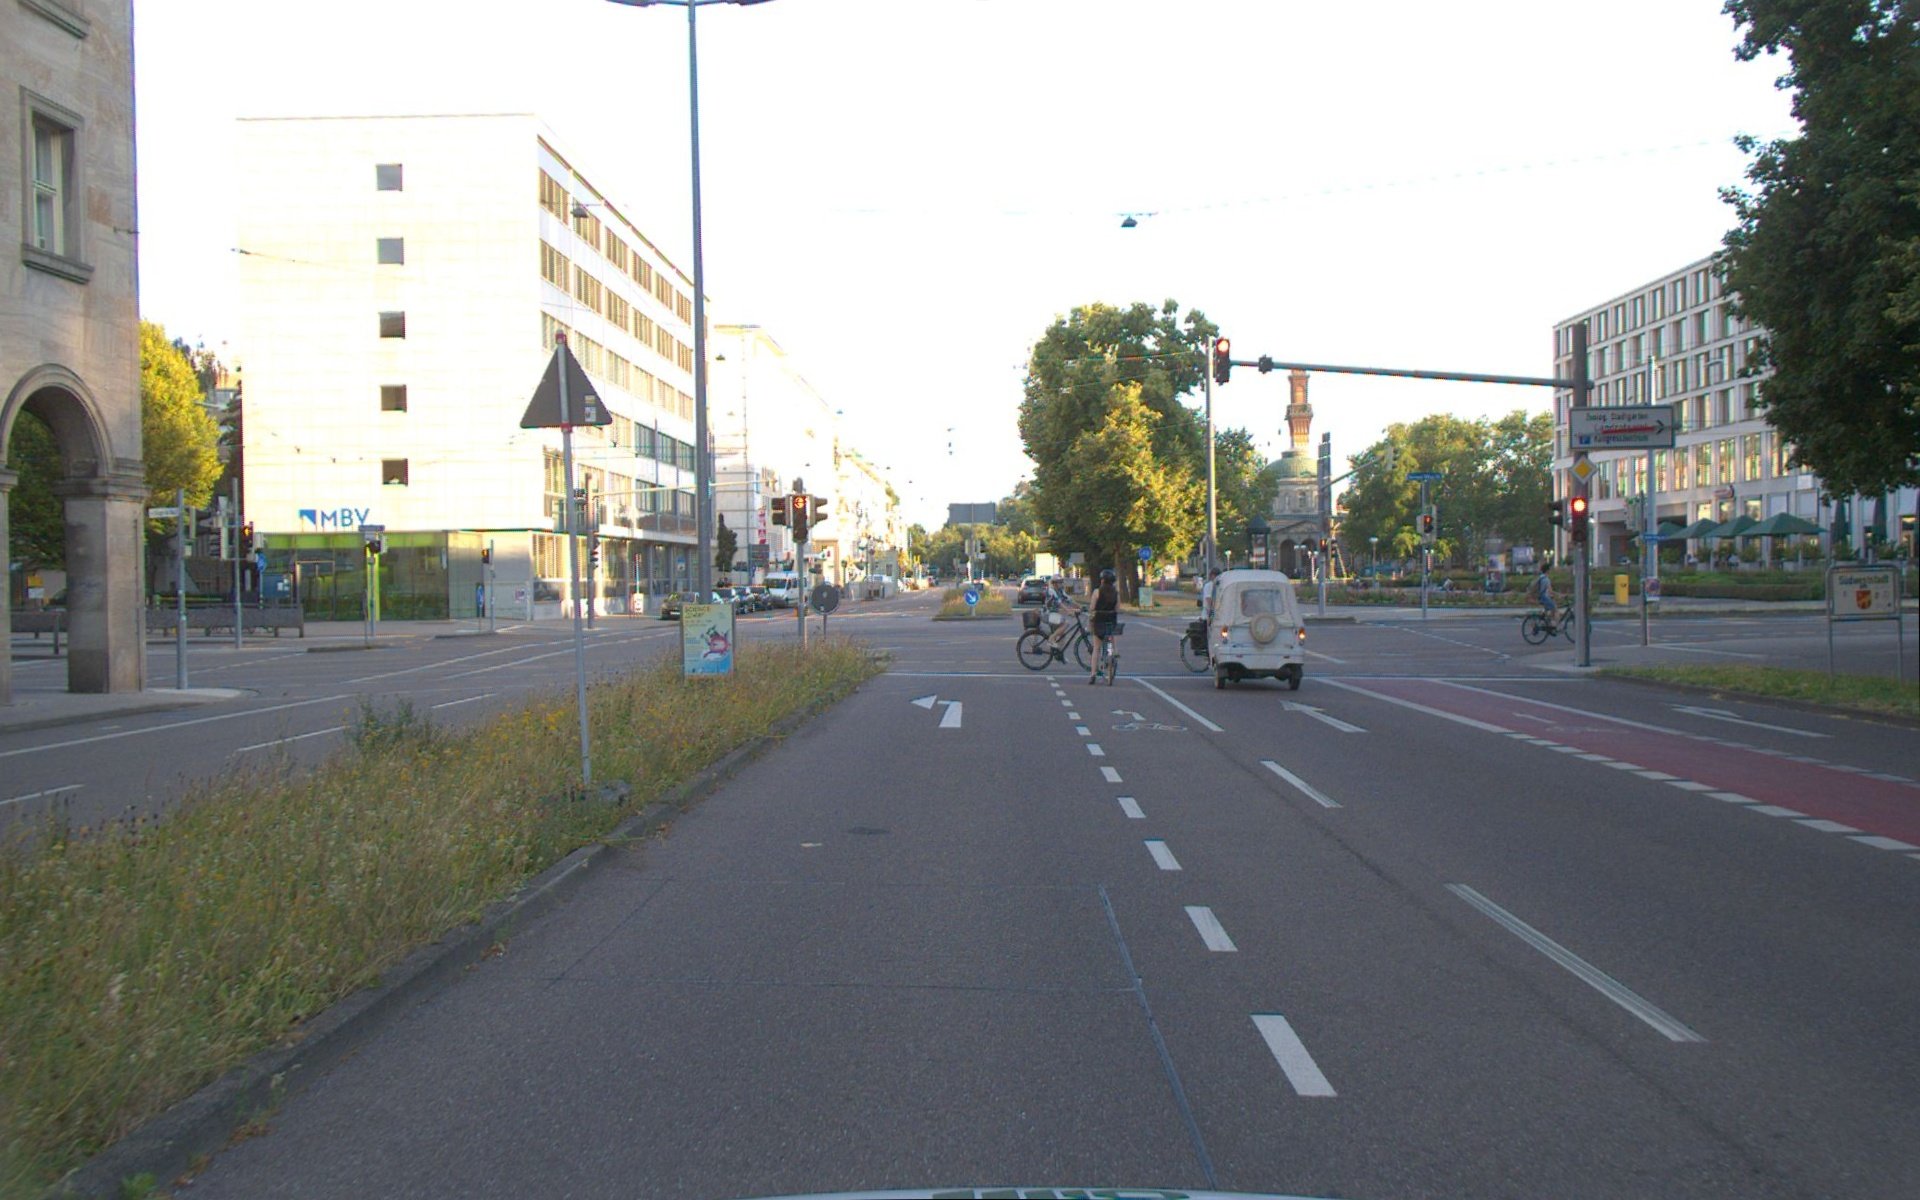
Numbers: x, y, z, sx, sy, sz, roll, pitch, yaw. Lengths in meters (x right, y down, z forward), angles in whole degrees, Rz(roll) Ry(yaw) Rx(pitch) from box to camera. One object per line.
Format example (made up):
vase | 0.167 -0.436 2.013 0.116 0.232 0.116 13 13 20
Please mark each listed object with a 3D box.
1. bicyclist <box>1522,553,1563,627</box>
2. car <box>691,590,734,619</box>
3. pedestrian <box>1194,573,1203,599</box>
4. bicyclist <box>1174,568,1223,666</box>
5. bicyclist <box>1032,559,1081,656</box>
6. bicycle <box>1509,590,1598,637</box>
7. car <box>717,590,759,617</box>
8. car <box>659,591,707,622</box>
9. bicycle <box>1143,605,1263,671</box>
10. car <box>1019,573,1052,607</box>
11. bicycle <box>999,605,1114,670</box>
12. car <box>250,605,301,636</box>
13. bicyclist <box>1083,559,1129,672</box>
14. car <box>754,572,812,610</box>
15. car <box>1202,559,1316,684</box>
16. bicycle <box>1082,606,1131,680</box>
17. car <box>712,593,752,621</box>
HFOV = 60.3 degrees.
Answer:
bicyclist | 13.890 -0.238 39.483 0.730 1.722 0.716 -1 0 4
car | -13.775 0.275 92.366 1.759 1.501 3.999 -1 -2 0
pedestrian | 15.551 -0.913 107.756 0.498 1.697 0.531 -1 0 0
bicyclist | 4.277 0.292 29.590 0.730 1.722 0.765 -1 0 17
bicyclist | 1.759 0.131 29.967 0.730 1.722 0.716 -1 0 15
bicycle | 14.150 0.317 39.464 1.857 1.087 0.731 0 0 4
car | -13.681 0.227 102.093 1.758 1.501 4.002 -1 -2 5
car | -14.289 0.355 85.430 1.759 1.501 3.999 -1 -2 0
bicycle | 4.360 0.662 29.619 2.014 1.087 0.787 1 1 17
car | 4.808 -0.654 105.727 1.953 2.049 4.000 -1 1 0
bicycle | 1.749 0.665 29.986 1.972 1.087 0.731 1 1 13
car | -25.811 0.760 62.405 0.836 1.092 2.522 -1 1 0
bicyclist | 2.270 0.230 25.767 0.615 1.722 0.748 -1 0 0
car | -12.265 -0.591 115.068 2.130 2.427 5.994 -2 -2 12
car | 4.562 0.284 25.471 1.429 1.811 2.566 -1 2 3
bicycle | 2.291 0.656 26.085 0.624 1.087 2.069 0 1 1
car | -13.349 0.416 96.938 1.759 1.501 3.999 -1 -2 0
